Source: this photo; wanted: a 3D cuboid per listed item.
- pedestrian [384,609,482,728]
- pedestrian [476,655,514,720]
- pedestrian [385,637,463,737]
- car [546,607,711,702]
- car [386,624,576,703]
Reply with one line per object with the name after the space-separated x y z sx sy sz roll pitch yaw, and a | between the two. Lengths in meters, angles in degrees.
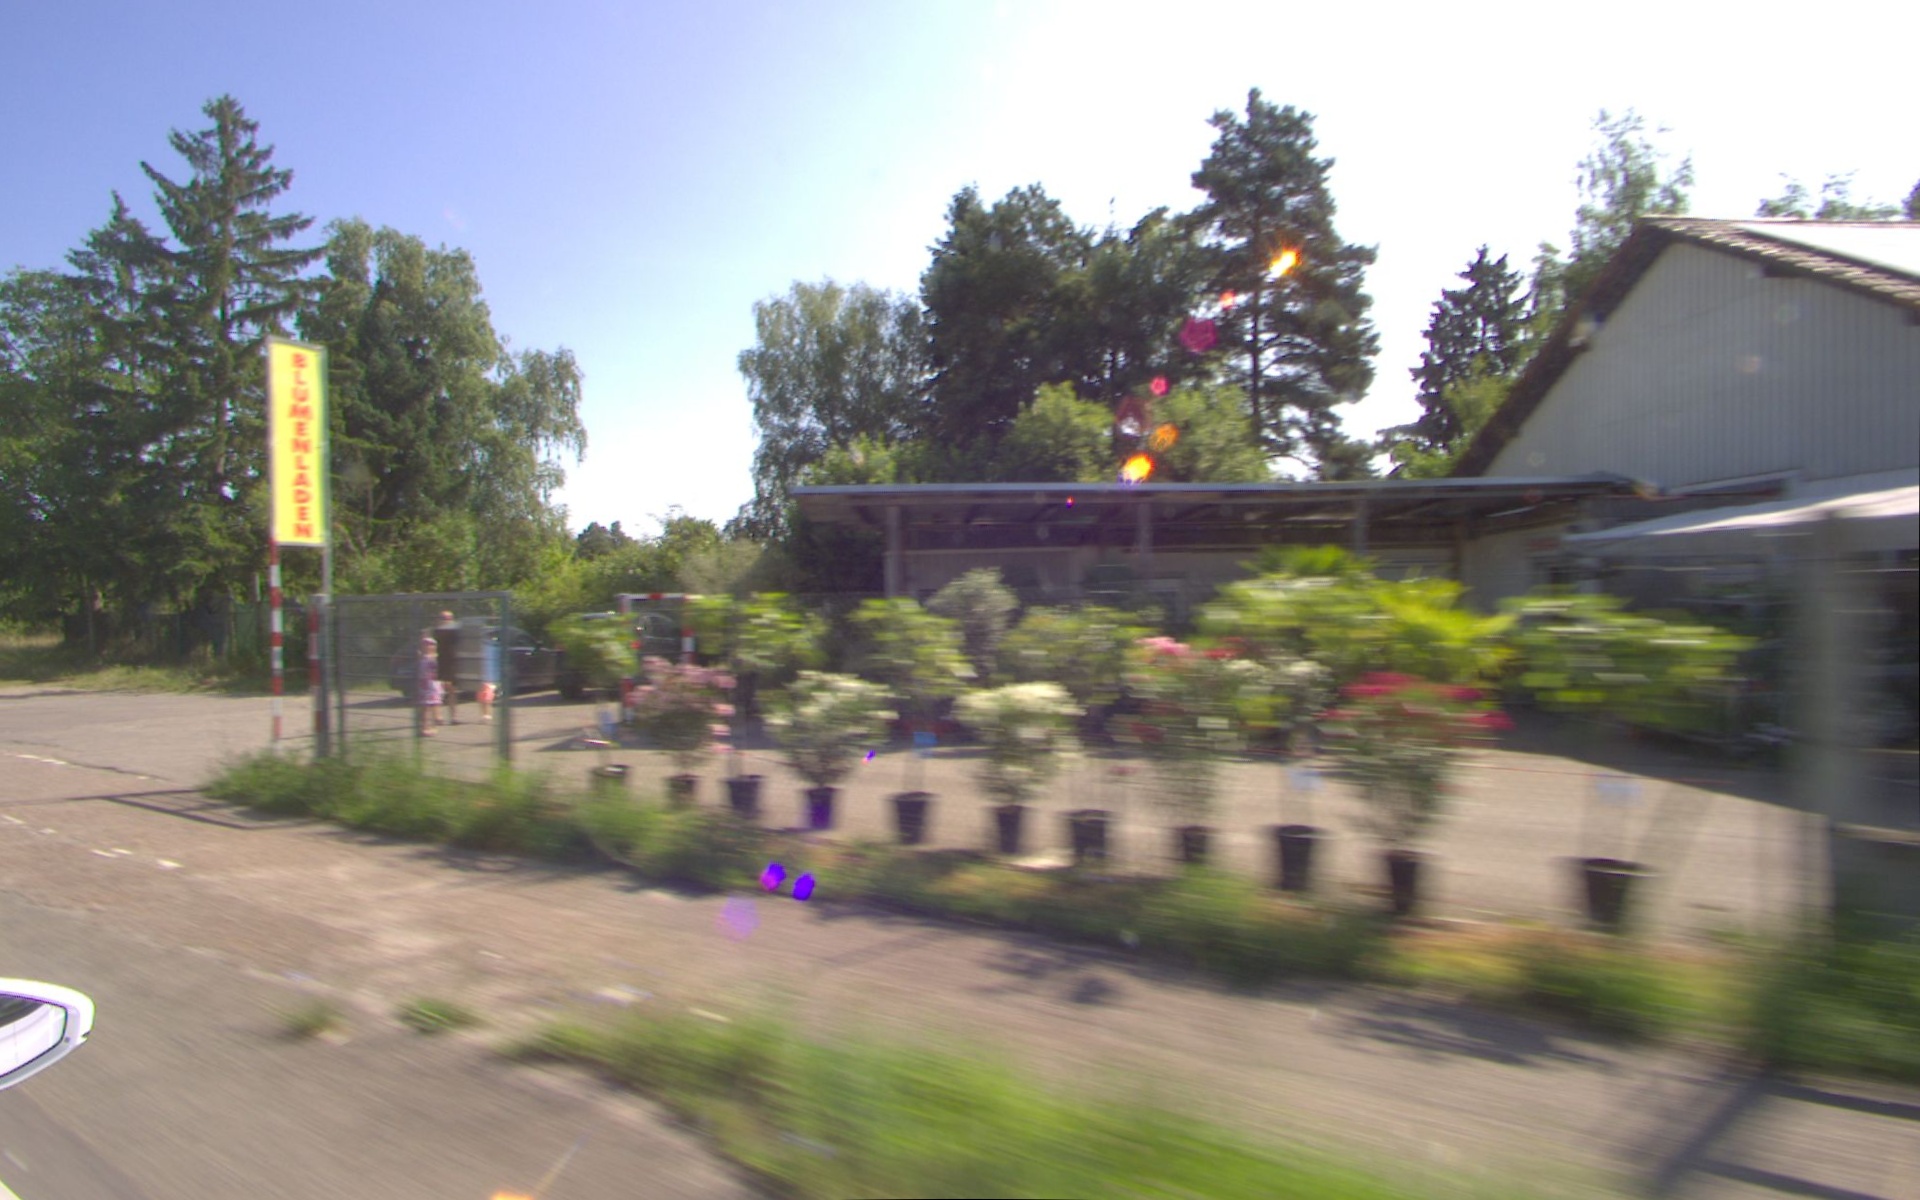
-8.317 1.049 15.866 1.079 1.809 0.936 -1 0 -7 | pedestrian
-7.508 1.407 16.172 0.461 0.997 0.339 -1 1 -7 | pedestrian
-7.654 1.226 14.334 0.711 1.356 0.825 -1 0 -7 | pedestrian
-6.944 1.080 21.511 1.828 1.827 4.464 0 0 3 | car
-9.987 1.266 21.312 1.682 1.449 4.464 0 0 3 | car
